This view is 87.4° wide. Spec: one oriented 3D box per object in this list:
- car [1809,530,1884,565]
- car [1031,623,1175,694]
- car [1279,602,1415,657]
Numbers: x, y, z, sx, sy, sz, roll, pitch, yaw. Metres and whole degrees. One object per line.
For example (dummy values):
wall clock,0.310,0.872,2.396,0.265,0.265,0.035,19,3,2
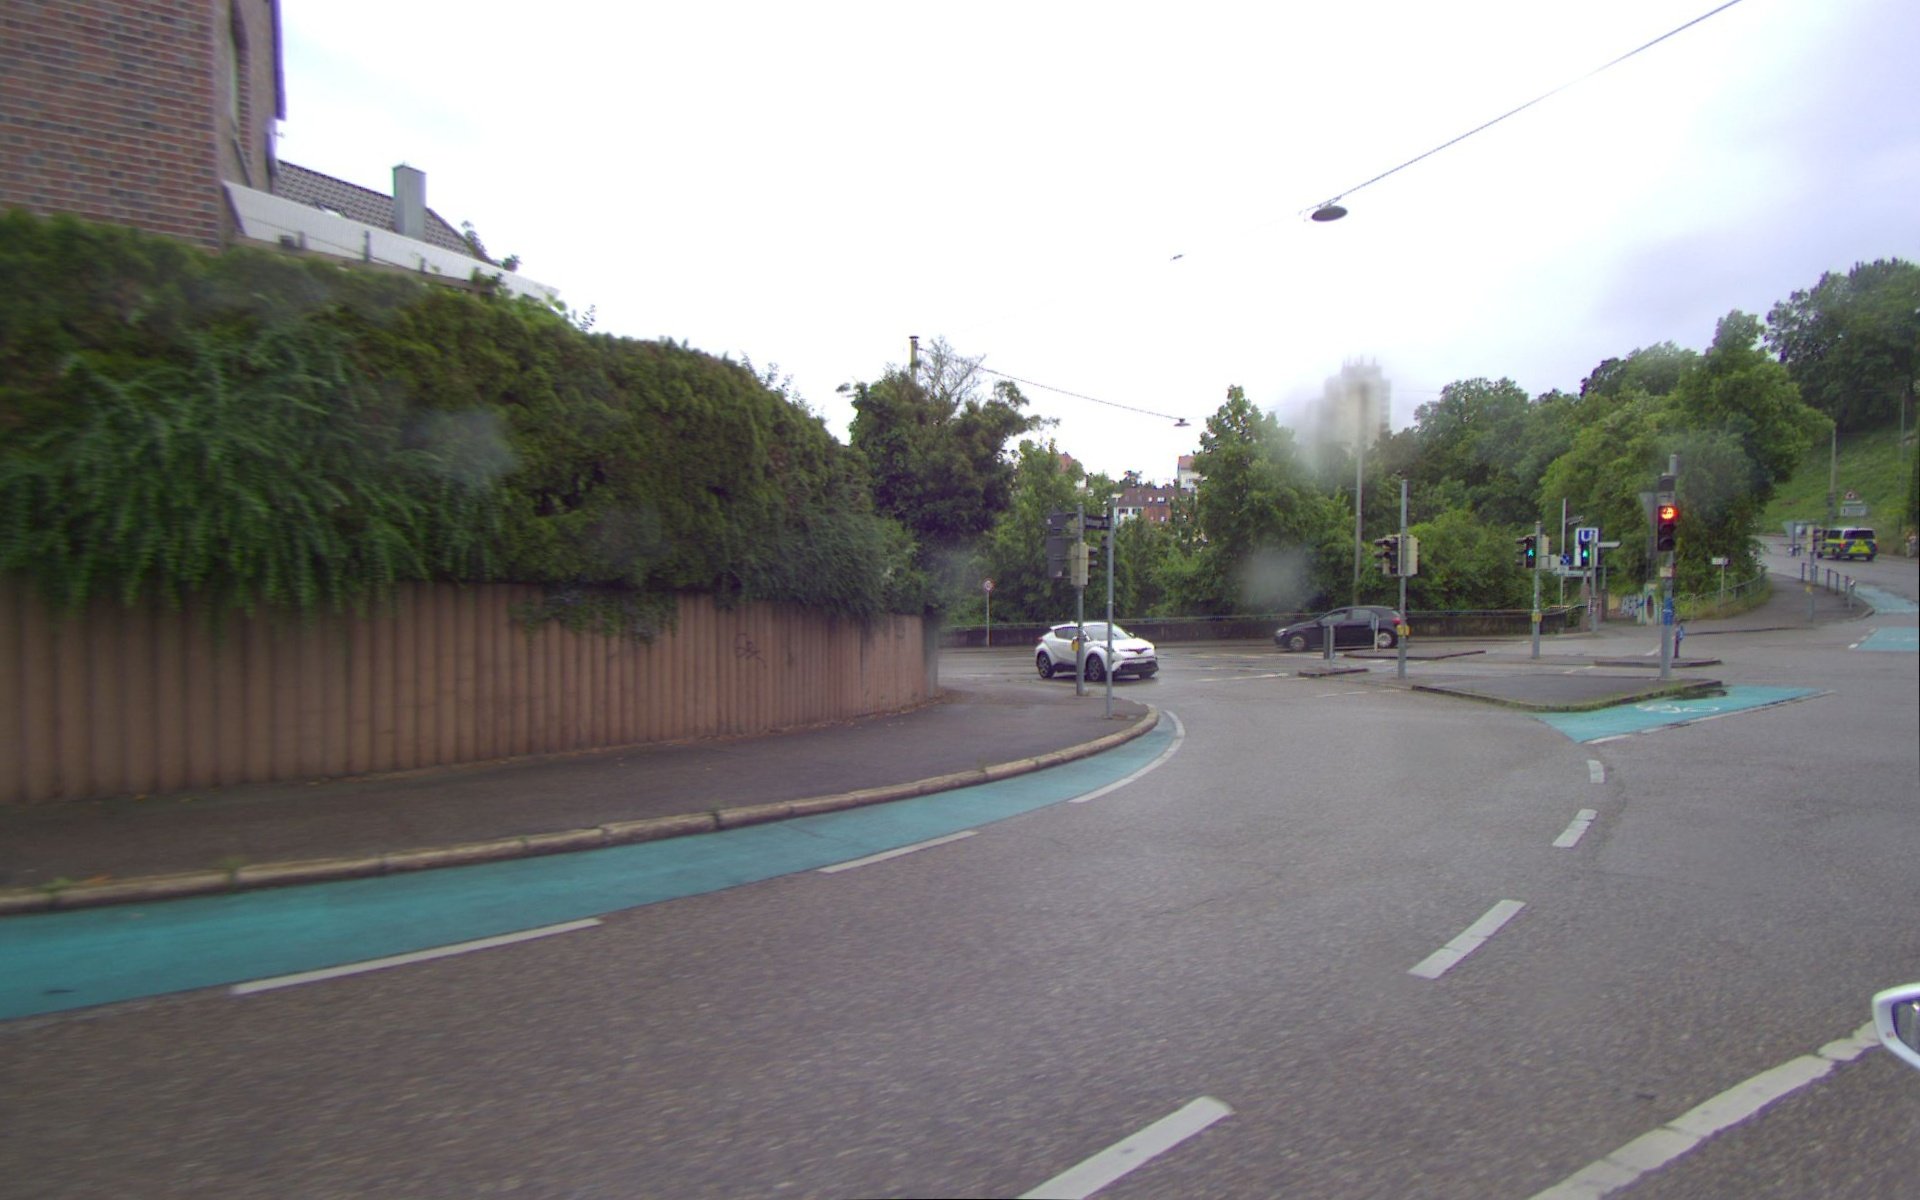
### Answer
car,55.046,-3.277,62.502,2.272,1.965,4.320,-3,2,24
car,3.851,1.544,27.739,1.973,1.696,4.139,-3,0,-25
car,12.697,0.969,33.014,3.928,1.571,1.744,-3,1,29
